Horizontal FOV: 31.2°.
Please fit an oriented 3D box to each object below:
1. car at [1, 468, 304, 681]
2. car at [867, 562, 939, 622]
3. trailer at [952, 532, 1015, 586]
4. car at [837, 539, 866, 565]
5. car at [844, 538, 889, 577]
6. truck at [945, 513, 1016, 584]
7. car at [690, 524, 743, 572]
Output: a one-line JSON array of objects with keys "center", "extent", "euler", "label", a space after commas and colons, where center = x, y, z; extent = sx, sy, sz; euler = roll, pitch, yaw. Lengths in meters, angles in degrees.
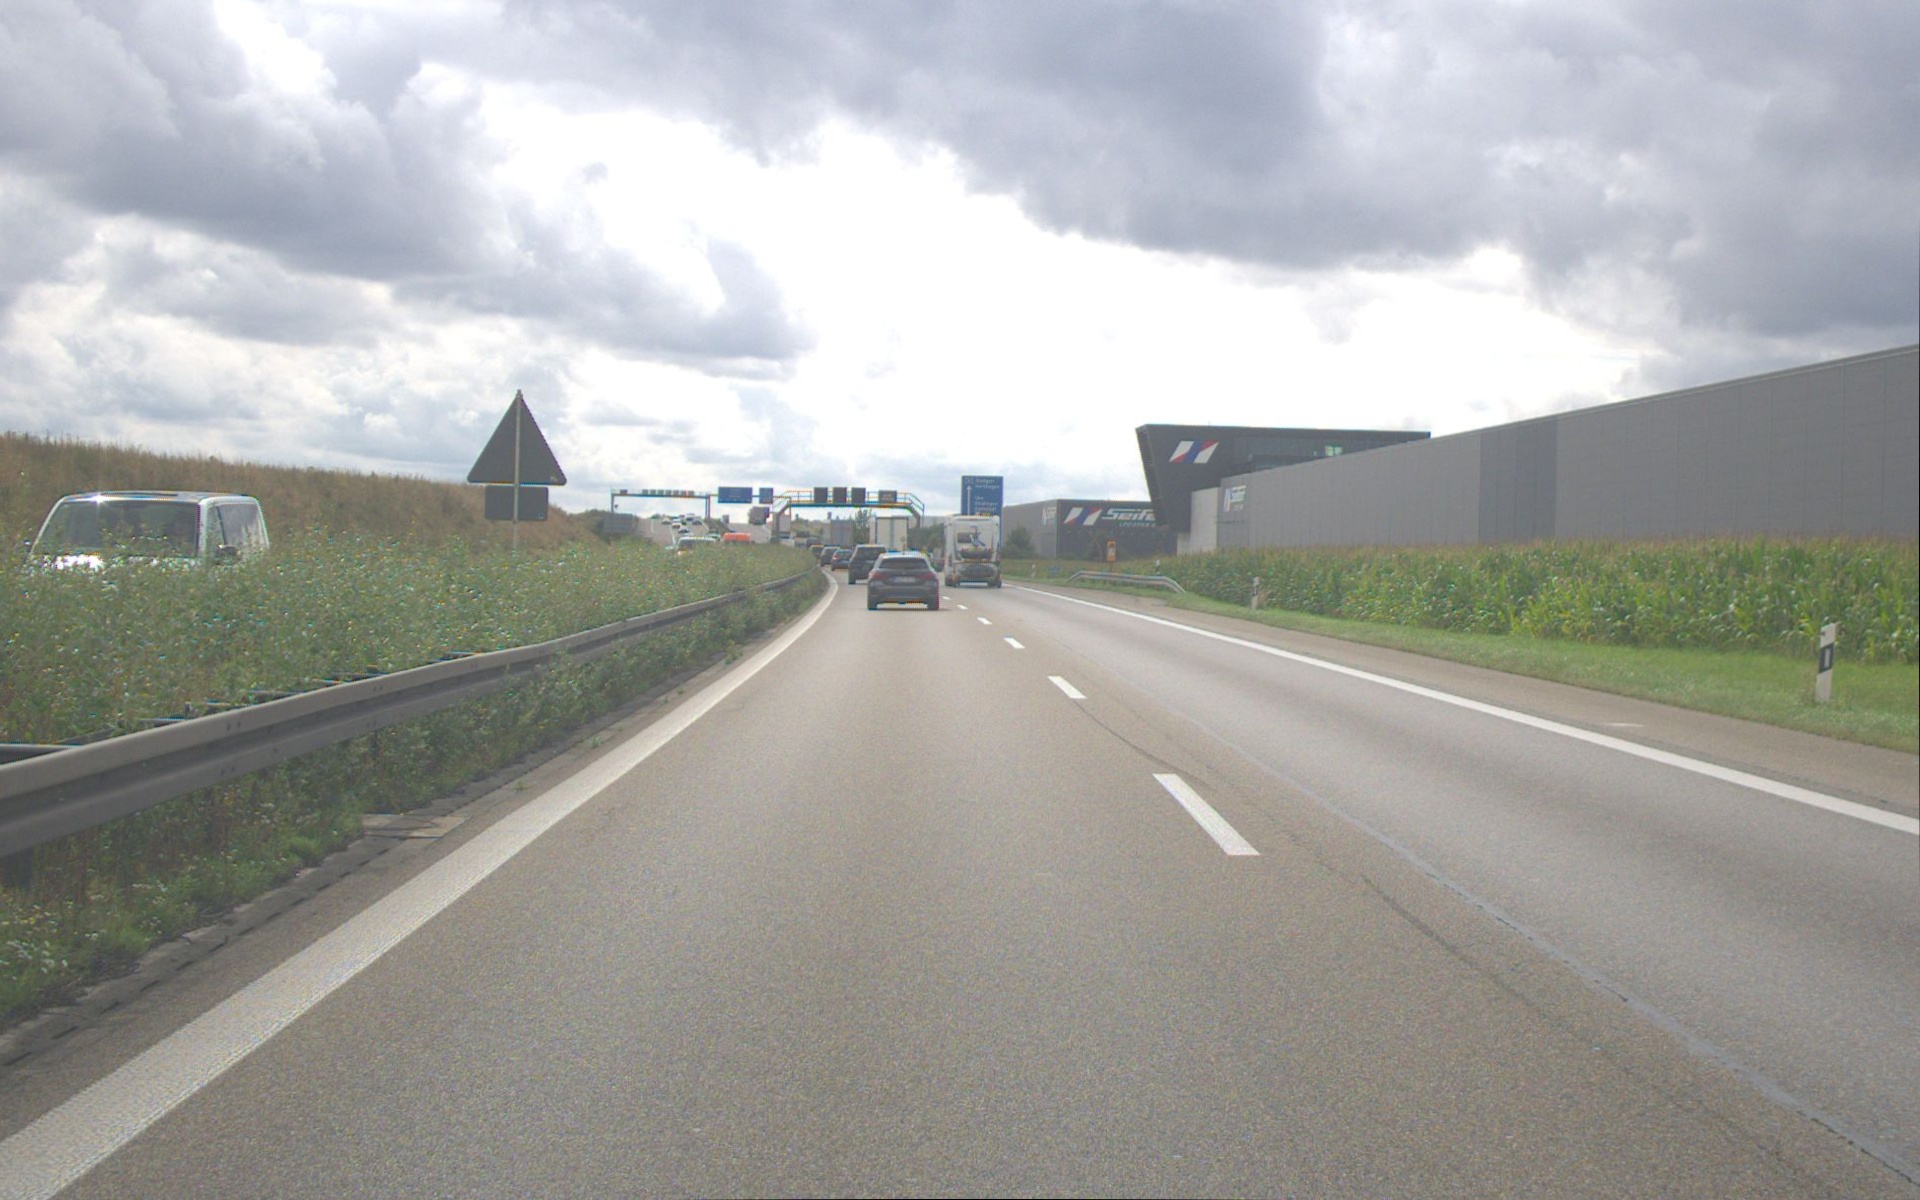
[{"center": [-8.230, -0.270, 35.513], "extent": [1.993, 2.007, 5.033], "euler": [1, 1, -1], "label": "car"}, {"center": [-1.466, -0.220, 87.244], "extent": [1.746, 1.448, 4.000], "euler": [1, 1, -2], "label": "car"}, {"center": [0.941, -1.646, 138.454], "extent": [2.338, 2.129, 4.000], "euler": [1, 1, -2], "label": "trailer"}, {"center": [-7.529, -3.341, 238.741], "extent": [1.943, 1.769, 3.696], "euler": [1, 1, -1], "label": "car"}, {"center": [-4.138, -1.882, 151.952], "extent": [1.945, 1.679, 4.000], "euler": [1, 1, -2], "label": "car"}, {"center": [0.848, -2.173, 145.638], "extent": [2.481, 2.940, 5.816], "euler": [1, 1, -4], "label": "truck"}, {"center": [-10.573, -2.250, 149.671], "extent": [1.993, 2.007, 5.532], "euler": [1, 1, -1], "label": "car"}]
